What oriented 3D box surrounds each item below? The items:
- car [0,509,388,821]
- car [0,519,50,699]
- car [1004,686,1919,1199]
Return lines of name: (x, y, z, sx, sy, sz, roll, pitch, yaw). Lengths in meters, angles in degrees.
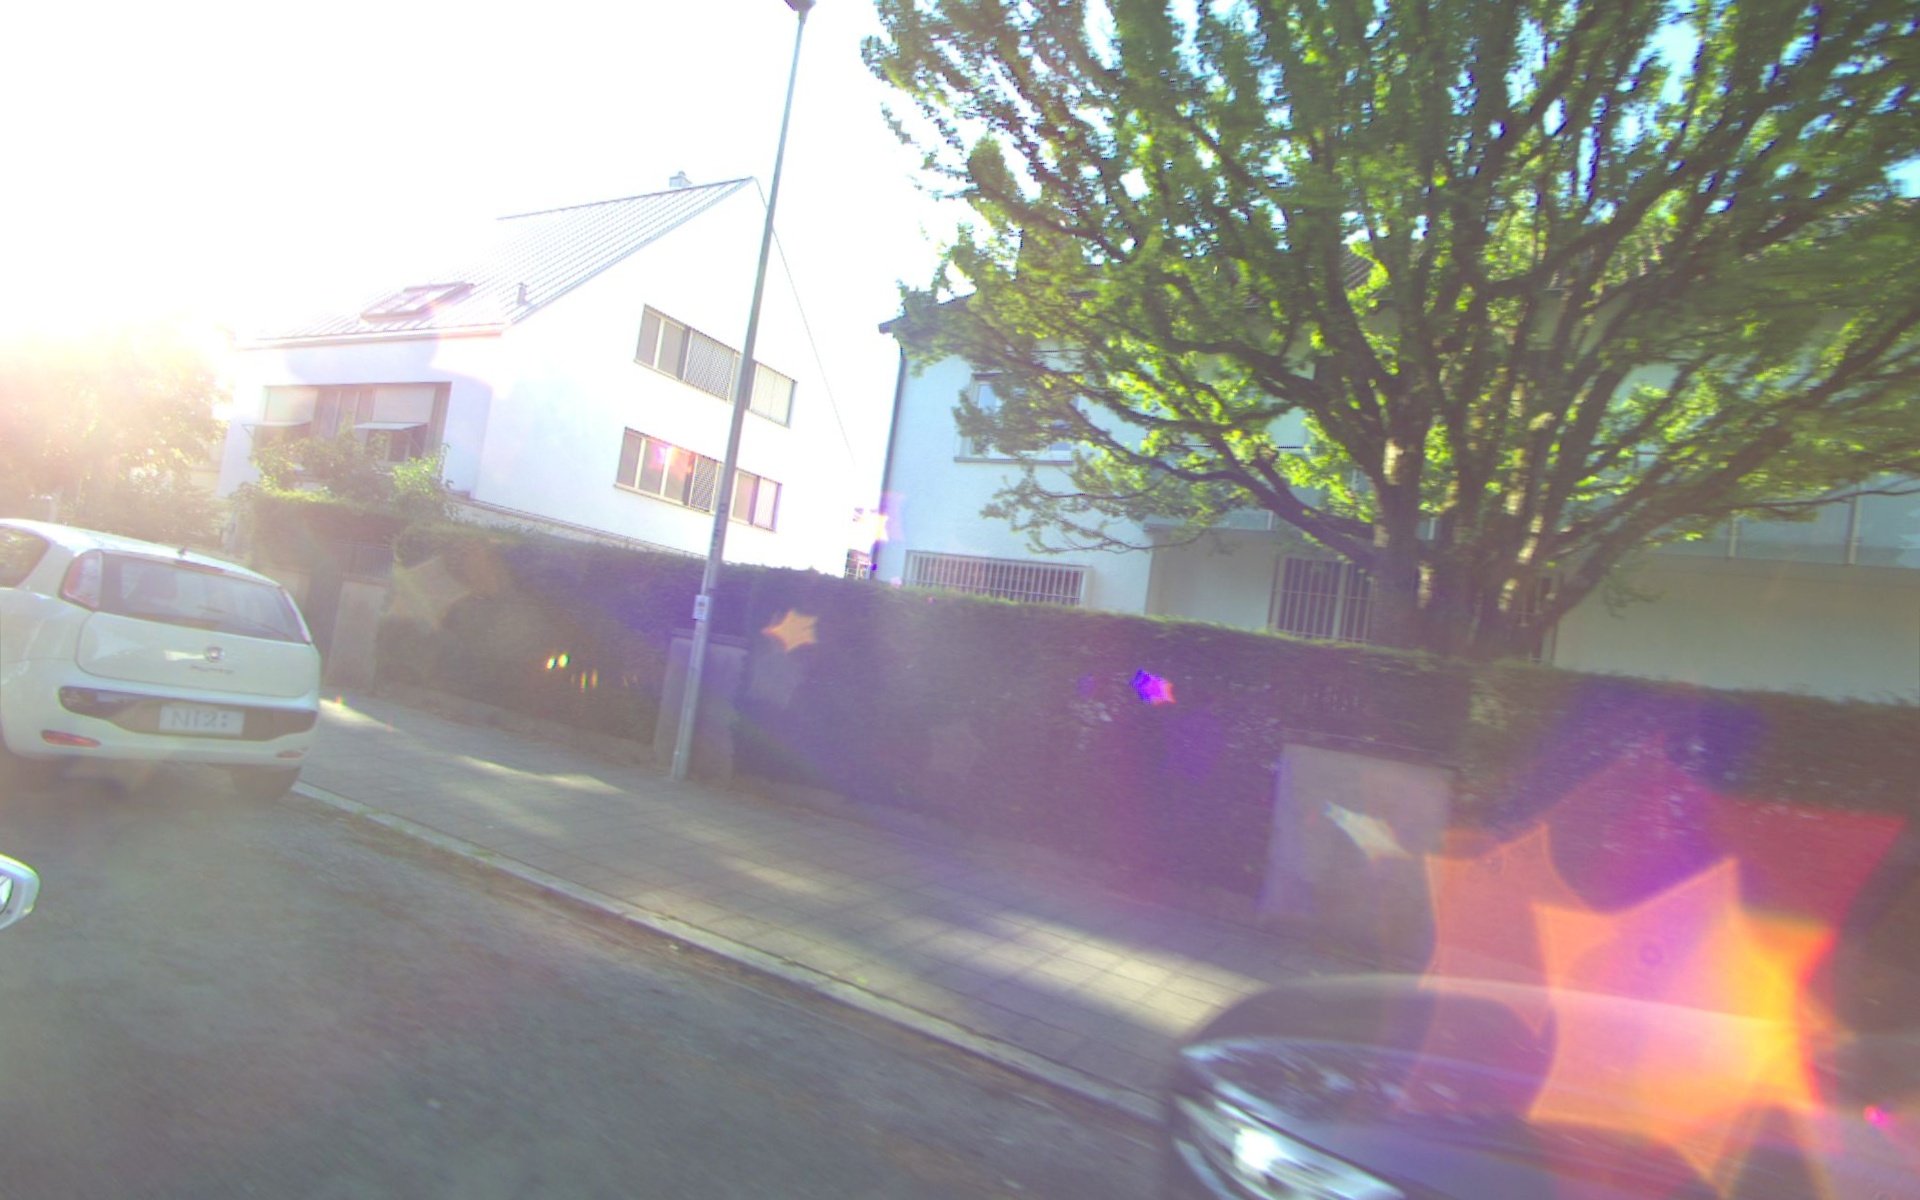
car: (-5.887, 0.283, 6.559, 3.860, 1.496, 1.701, 7, -7, 27)
car: (-10.203, -0.246, 8.877, 4.214, 1.491, 1.756, 7, -5, 28)
car: (2.499, 1.237, 1.375, 4.596, 1.507, 1.799, 6, -4, 31)
